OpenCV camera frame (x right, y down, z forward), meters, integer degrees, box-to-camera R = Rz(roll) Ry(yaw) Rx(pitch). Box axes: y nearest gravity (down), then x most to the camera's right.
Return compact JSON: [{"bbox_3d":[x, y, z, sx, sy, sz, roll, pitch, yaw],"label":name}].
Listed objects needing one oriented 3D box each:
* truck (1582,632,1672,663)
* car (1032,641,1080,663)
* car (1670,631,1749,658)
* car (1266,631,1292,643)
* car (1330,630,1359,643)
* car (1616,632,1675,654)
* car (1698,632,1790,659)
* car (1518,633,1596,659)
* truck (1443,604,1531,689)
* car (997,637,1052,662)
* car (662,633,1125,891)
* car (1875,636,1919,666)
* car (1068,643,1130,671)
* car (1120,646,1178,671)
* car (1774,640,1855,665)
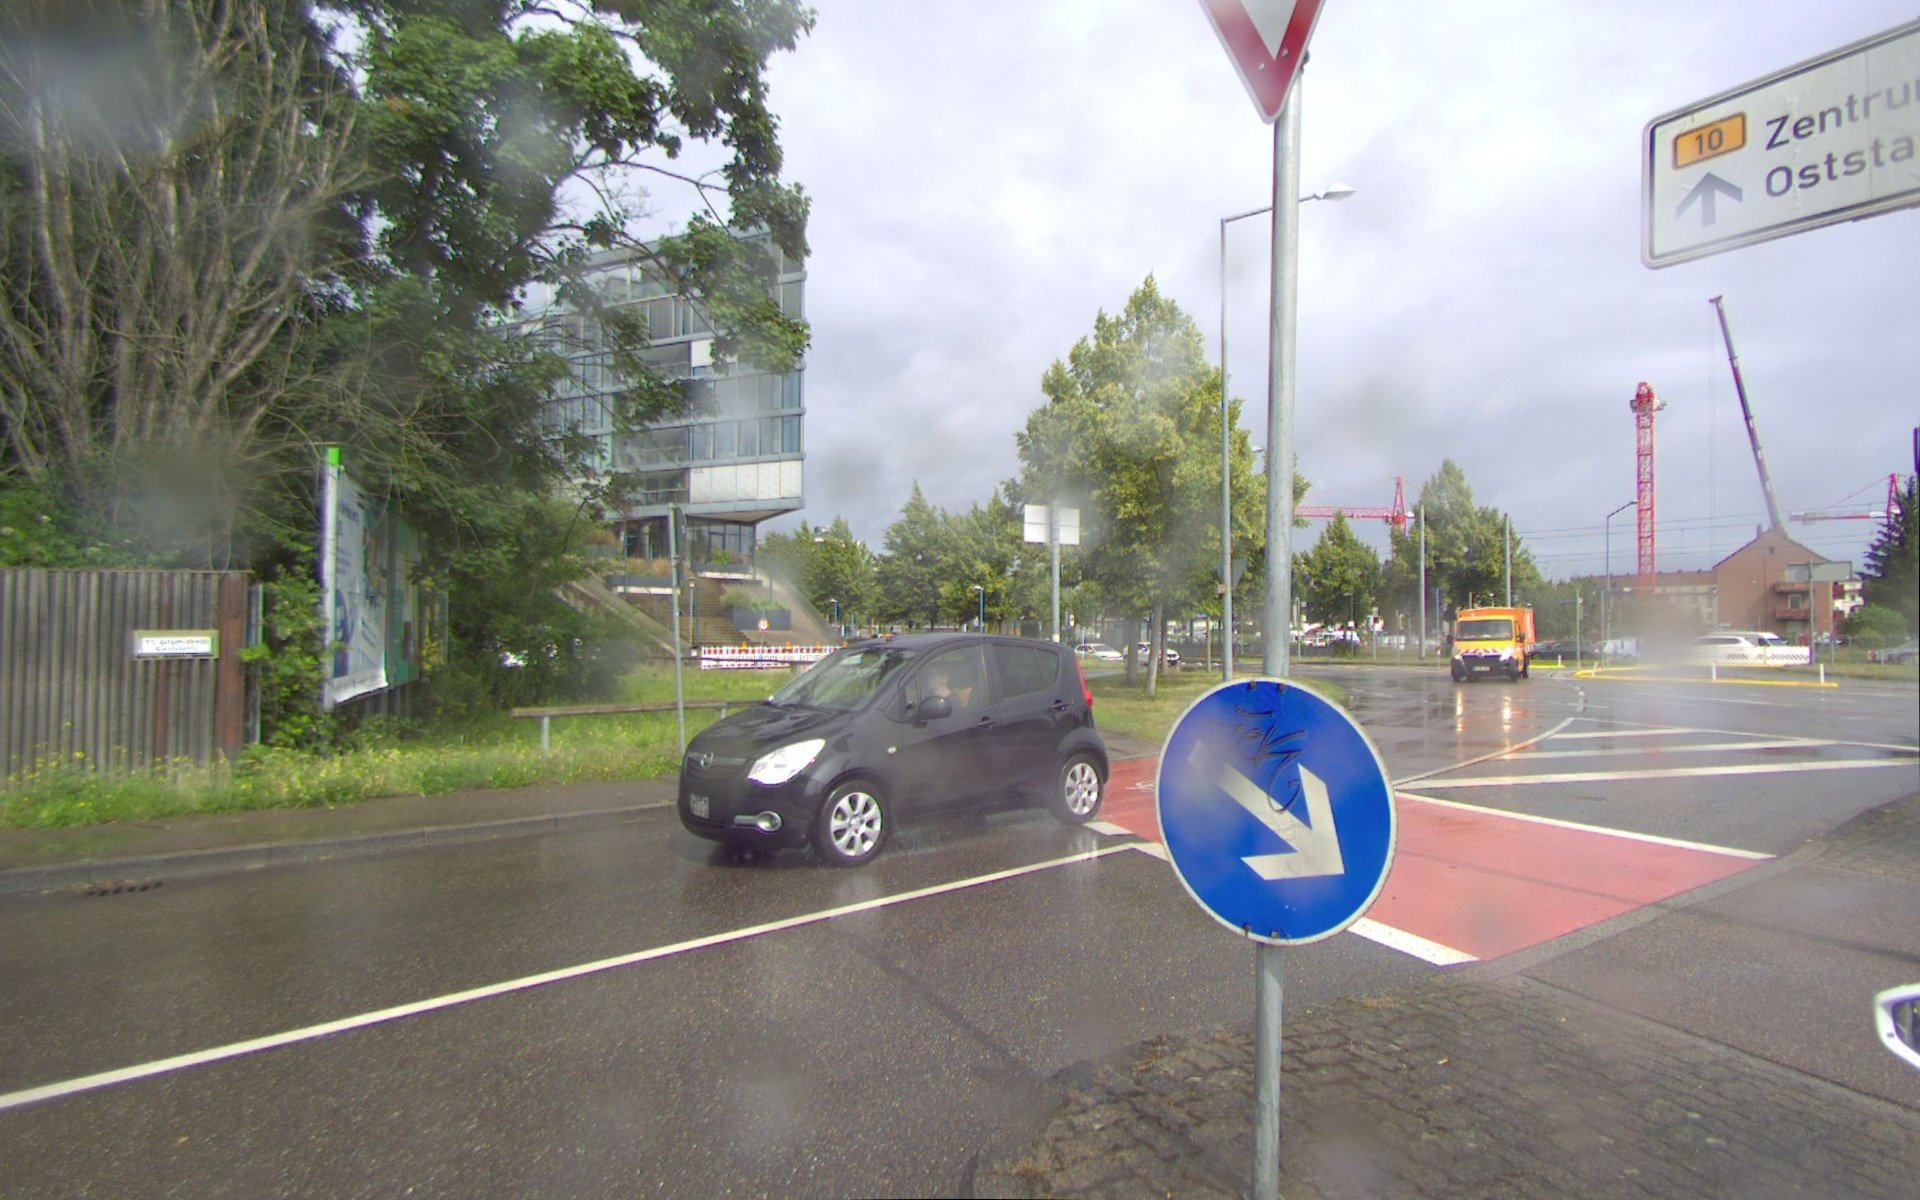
[{"bbox_3d":[56.011,3.952,84.504,2.361,2.241,6.074,1,0,-19],"label":"truck"},{"bbox_3d":[7.023,3.809,73.789,1.704,1.528,3.879,1,-2,-27],"label":"car"},{"bbox_3d":[42.871,2.524,57.529,3.439,1.530,1.497,-1,-1,32],"label":"car"},{"bbox_3d":[44.868,5.225,141.257,1.530,1.581,3.475,1,-2,-28],"label":"car"},{"bbox_3d":[53.835,5.109,140.733,1.482,1.745,3.572,1,-2,-30],"label":"car"},{"bbox_3d":[61.393,3.832,90.063,1.903,1.723,3.976,1,0,-24],"label":"car"},{"bbox_3d":[69.134,3.997,88.720,2.013,2.113,6.234,1,0,-21],"label":"car"},{"bbox_3d":[36.846,2.806,62.013,3.937,1.537,1.796,-2,-2,37],"label":"car"},{"bbox_3d":[19.046,1.625,36.097,2.419,2.762,6.932,-1,-2,31],"label":"truck"},{"bbox_3d":[4.544,3.529,71.420,1.844,1.693,4.438,1,-4,-29],"label":"car"},{"bbox_3d":[-0.391,1.068,7.953,3.435,1.553,1.612,1,-3,-44],"label":"car"},{"bbox_3d":[51.579,2.710,53.669,3.604,1.581,1.575,0,-1,15],"label":"car"},{"bbox_3d":[8.772,3.596,63.697,1.841,1.693,4.446,0,-3,-24],"label":"car"},{"bbox_3d":[12.052,3.715,64.228,1.704,1.528,3.879,1,-2,-27],"label":"car"},{"bbox_3d":[60.710,3.725,71.434,3.919,1.706,2.001,0,-2,5],"label":"car"}]
